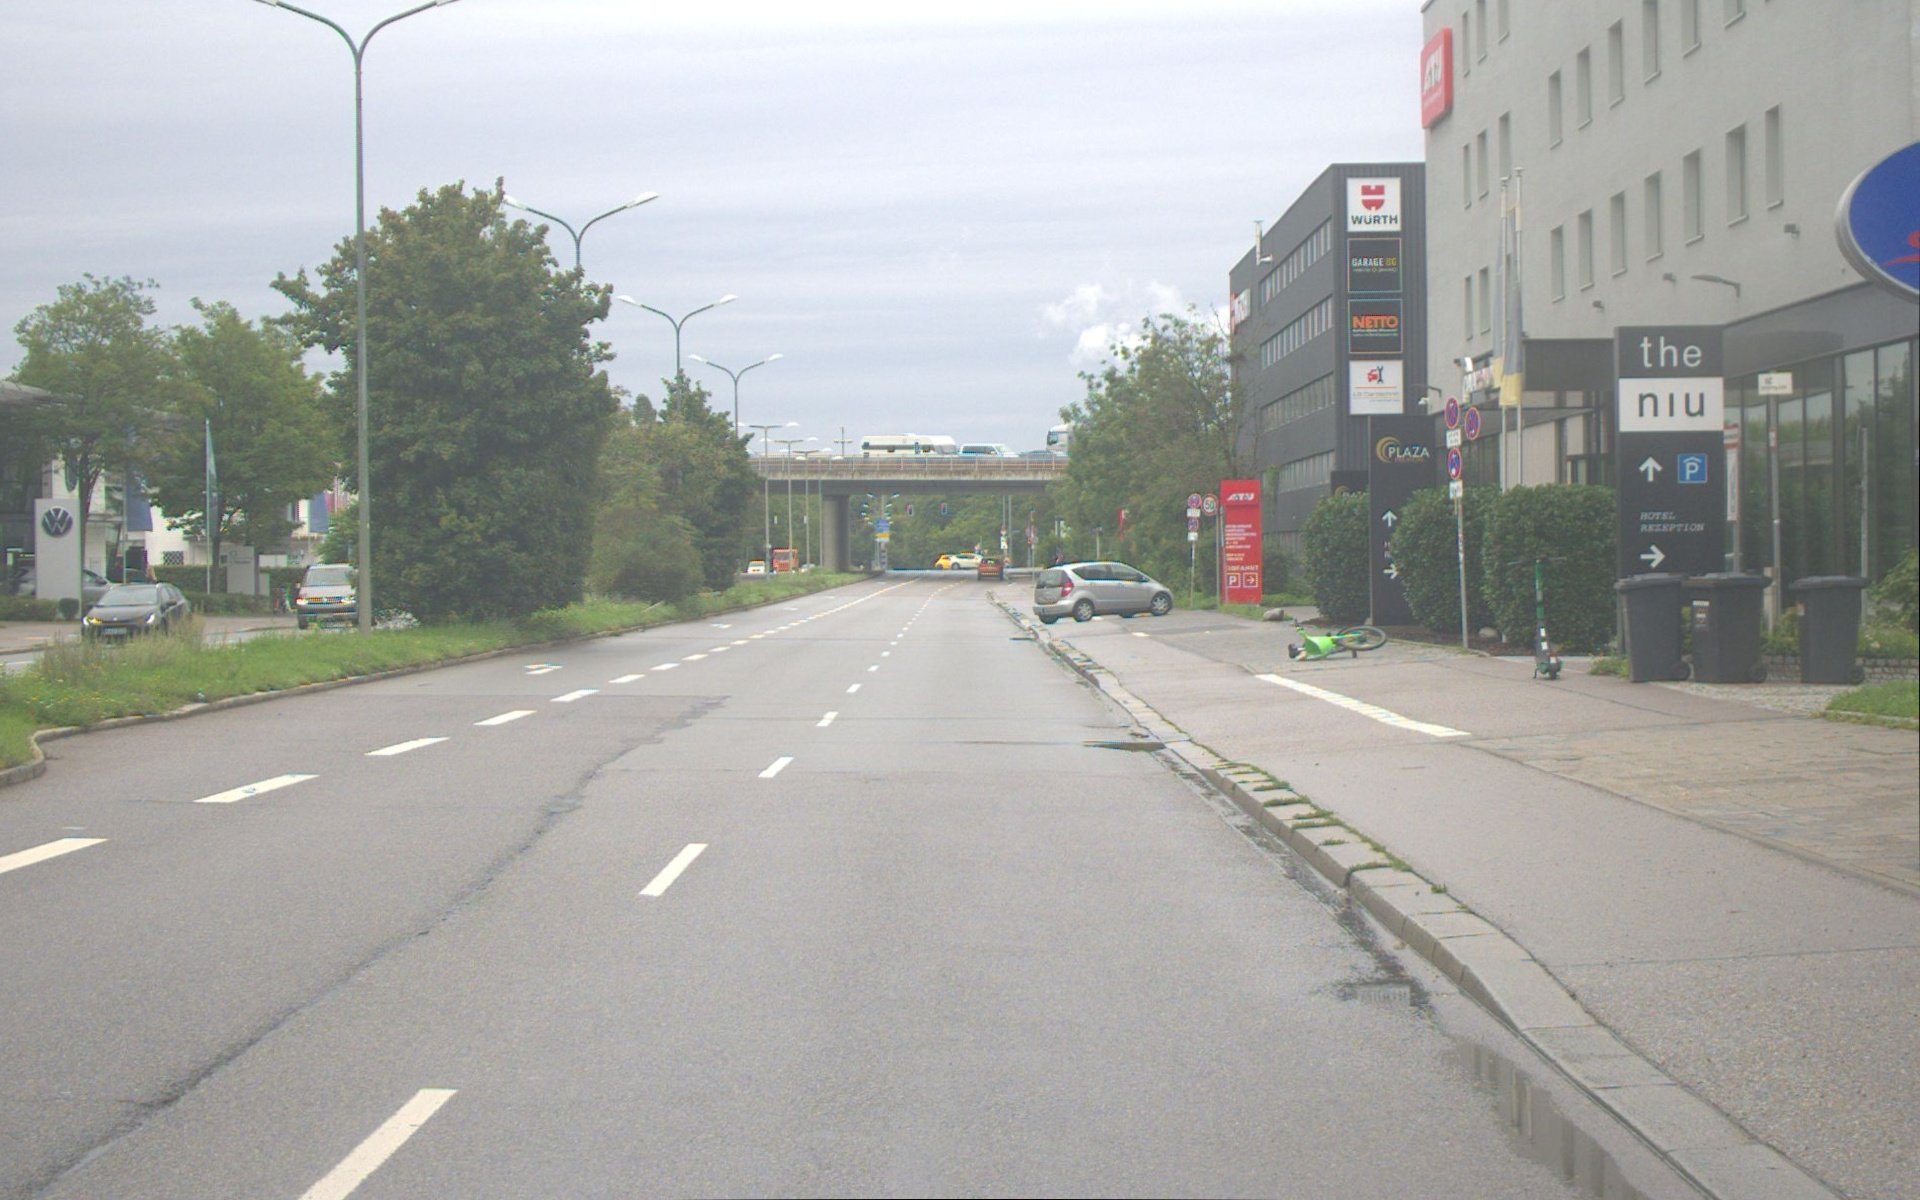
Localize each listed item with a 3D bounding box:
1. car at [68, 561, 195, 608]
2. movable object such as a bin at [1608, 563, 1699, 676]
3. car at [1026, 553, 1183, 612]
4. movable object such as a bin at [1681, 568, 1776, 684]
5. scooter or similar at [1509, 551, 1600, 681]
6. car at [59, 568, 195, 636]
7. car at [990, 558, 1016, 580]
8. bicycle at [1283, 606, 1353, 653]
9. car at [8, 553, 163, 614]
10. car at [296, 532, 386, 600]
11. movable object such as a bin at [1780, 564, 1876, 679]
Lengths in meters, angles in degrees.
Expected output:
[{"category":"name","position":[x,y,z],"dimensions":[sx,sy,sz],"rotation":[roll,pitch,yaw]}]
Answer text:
[{"category":"car","position":[-29.268,-0.551,121.493],"dimensions":[3.991,1.504,1.799],"rotation":[-2,1,21]},{"category":"movable object such as a bin","position":[6.820,0.186,33.821],"dimensions":[0.737,1.074,0.655],"rotation":[-2,1,1]},{"category":"car","position":[3.887,-0.475,92.090],"dimensions":[4.014,1.552,1.820],"rotation":[0,1,-39]},{"category":"movable object such as a bin","position":[7.402,0.246,33.136],"dimensions":[0.737,1.074,0.655],"rotation":[-2,1,1]},{"category":"scooter or similar","position":[6.152,0.152,35.626],"dimensions":[0.585,1.273,1.404],"rotation":[-5,1,0]},{"category":"car","position":[-18.874,0.027,78.071],"dimensions":[1.993,1.396,4.655],"rotation":[-2,1,-1]},{"category":"car","position":[3.024,-2.224,243.987],"dimensions":[1.735,1.543,4.304],"rotation":[0,1,0]},{"category":"bicycle","position":[4.845,0.399,46.576],"dimensions":[0.720,0.547,1.732],"rotation":[-4,1,0]},{"category":"car","position":[-28.660,-0.541,112.678],"dimensions":[4.630,1.836,1.801],"rotation":[-2,1,-23]},{"category":"car","position":[-18.980,-1.052,105.534],"dimensions":[1.993,1.954,4.325],"rotation":[-2,1,-1]},{"category":"movable object such as a bin","position":[8.423,0.202,33.376],"dimensions":[0.737,1.074,0.655],"rotation":[-2,1,1]}]
